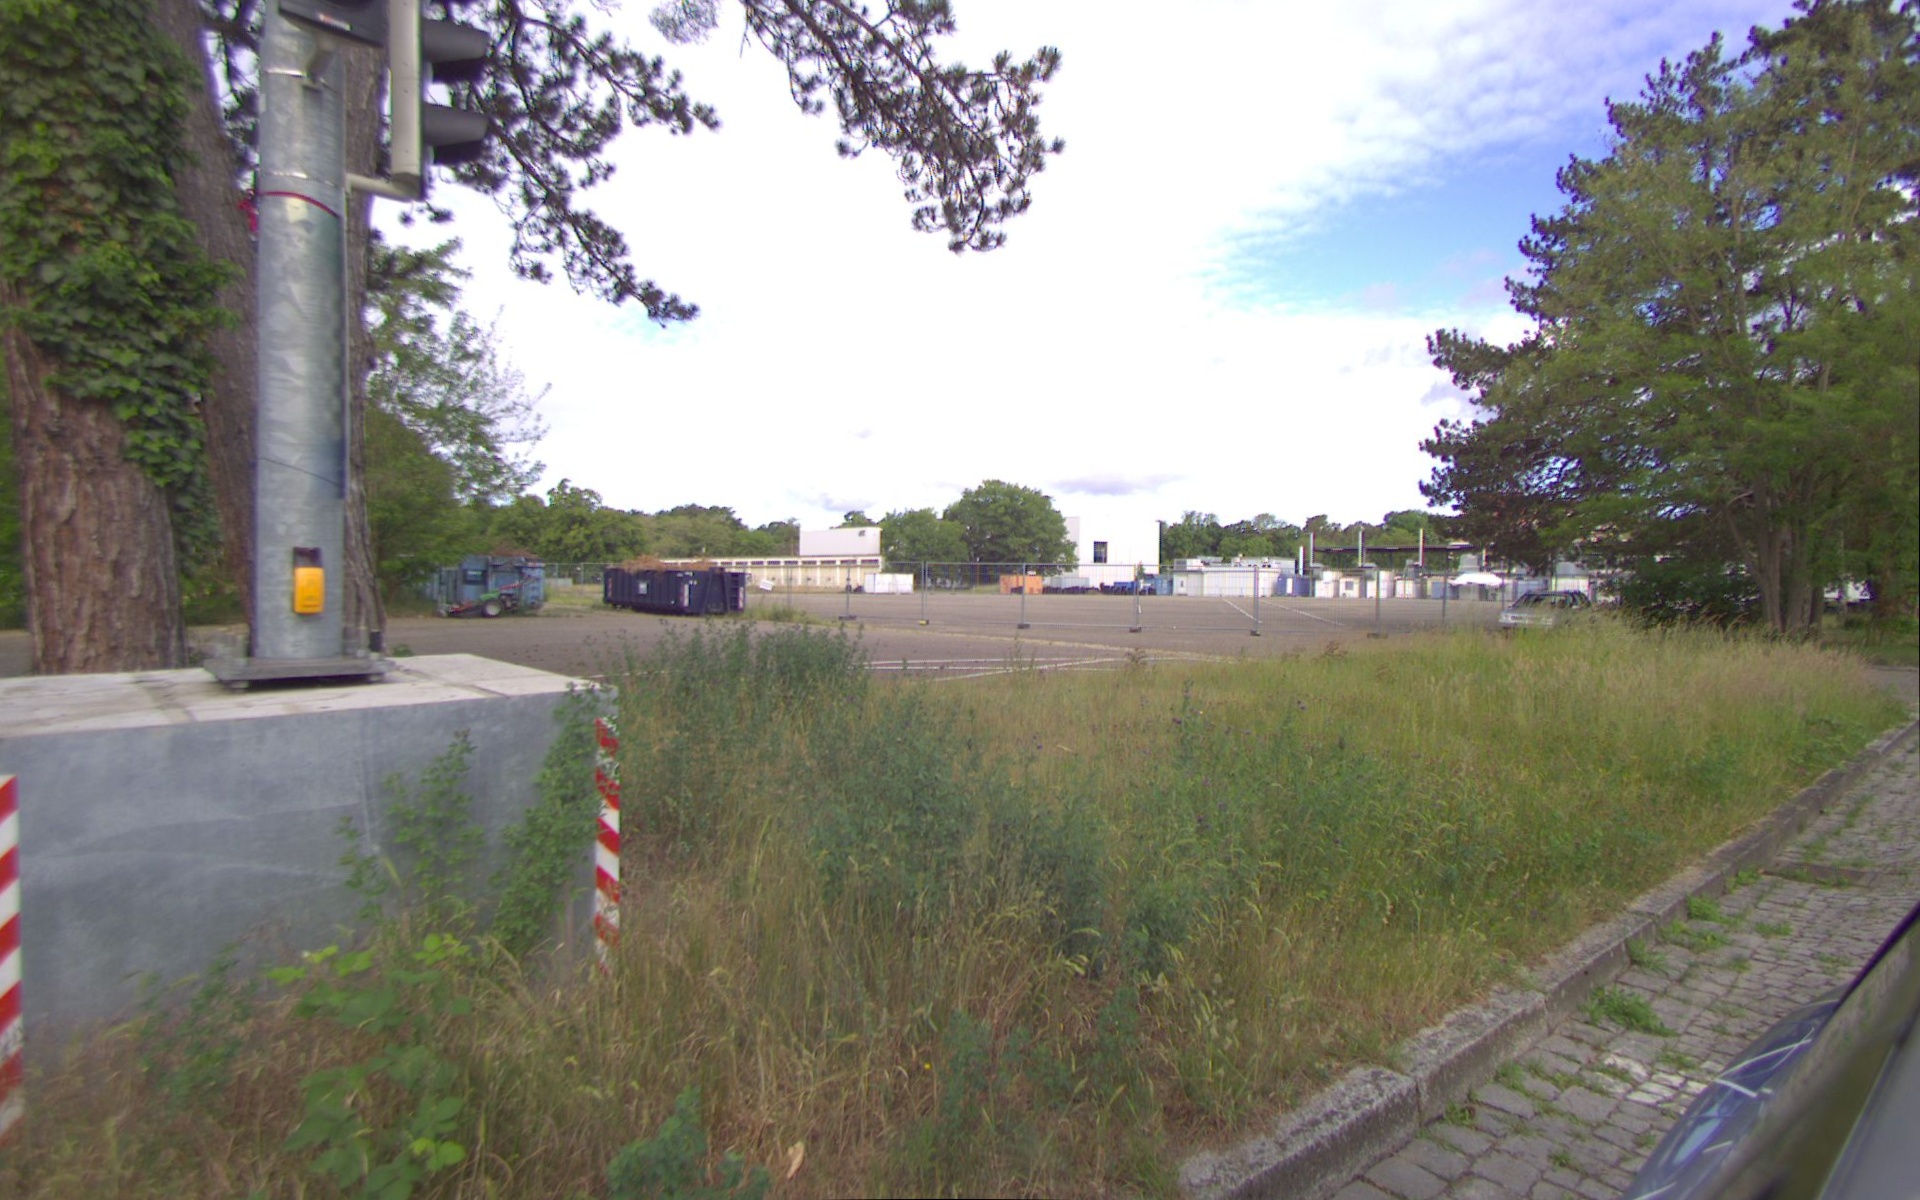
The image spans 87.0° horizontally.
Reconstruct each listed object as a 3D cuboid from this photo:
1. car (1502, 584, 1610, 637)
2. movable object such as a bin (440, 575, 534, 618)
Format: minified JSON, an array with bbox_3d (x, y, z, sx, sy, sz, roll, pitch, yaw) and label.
[{"bbox_3d":[17.740,0.264,30.044,4.416,1.469,1.675,-1,1,-44],"label":"car"},{"bbox_3d":[-13.106,-0.101,28.097,0.958,1.149,2.182,-1,0,39],"label":"movable object such as a bin"}]
